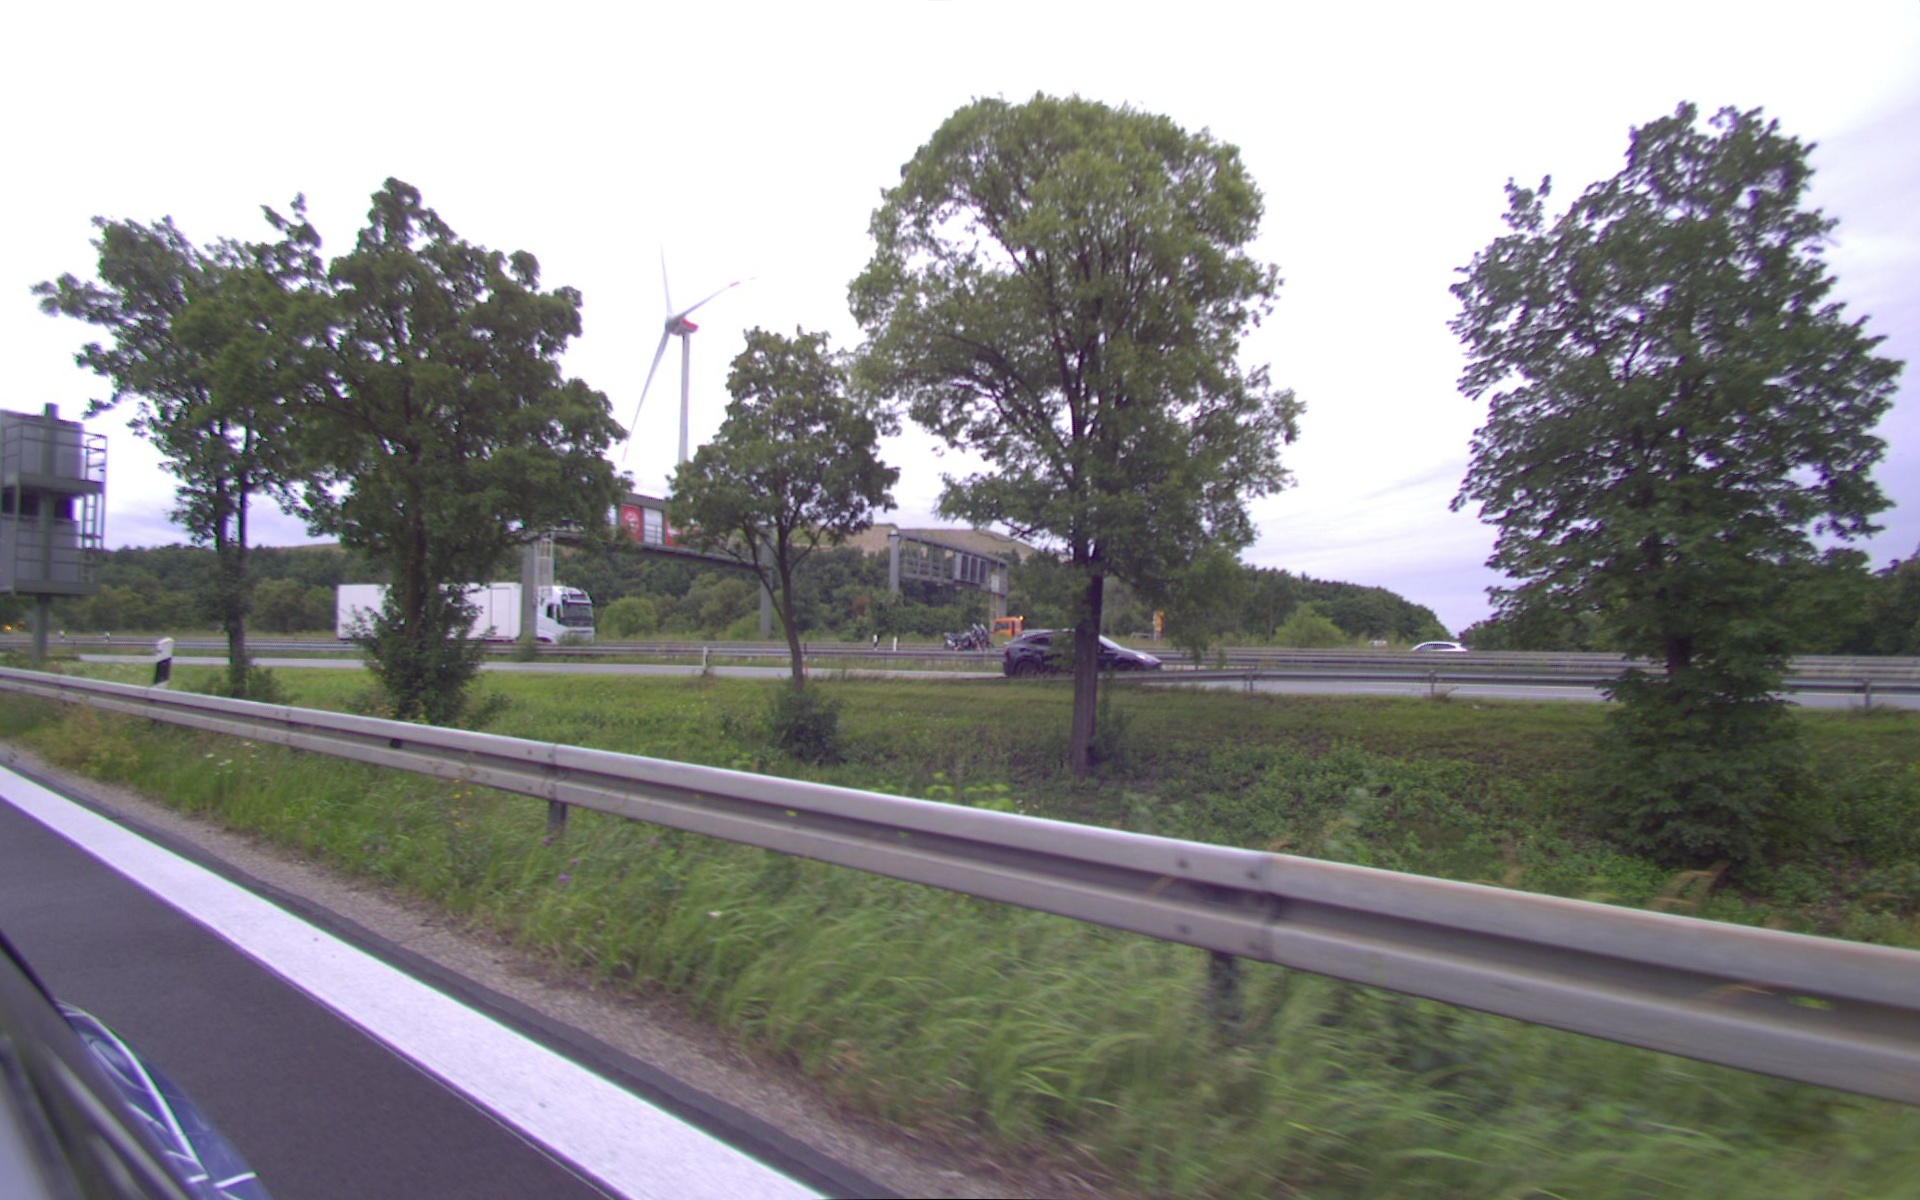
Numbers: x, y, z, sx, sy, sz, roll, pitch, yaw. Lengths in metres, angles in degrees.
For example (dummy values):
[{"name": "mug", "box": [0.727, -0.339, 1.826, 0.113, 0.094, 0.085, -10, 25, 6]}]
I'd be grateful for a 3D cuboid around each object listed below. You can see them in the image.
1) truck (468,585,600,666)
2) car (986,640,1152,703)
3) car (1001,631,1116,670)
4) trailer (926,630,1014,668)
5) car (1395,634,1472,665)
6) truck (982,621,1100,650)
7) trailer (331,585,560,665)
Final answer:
[{"name": "truck", "box": [-22.847, 1.386, 54.277, 6.397, 4.167, 2.756, -1, -2, 20]}, {"name": "car", "box": [3.187, 2.039, 29.499, 4.521, 1.650, 1.954, 0, -1, 21]}, {"name": "car", "box": [4.346, 2.206, 44.747, 4.771, 1.638, 1.875, 0, -1, 21]}, {"name": "trailer", "box": [0.466, 2.219, 46.206, 3.584, 1.638, 1.875, 0, -1, 20]}, {"name": "car", "box": [28.157, 2.906, 60.262, 3.971, 1.741, 1.863, 0, -1, 21]}, {"name": "truck", "box": [6.101, 2.664, 76.831, 8.757, 2.029, 1.985, 0, -1, 23]}, {"name": "trailer", "box": [-28.898, 1.407, 56.556, 13.847, 4.167, 2.756, -1, -2, 20]}]
